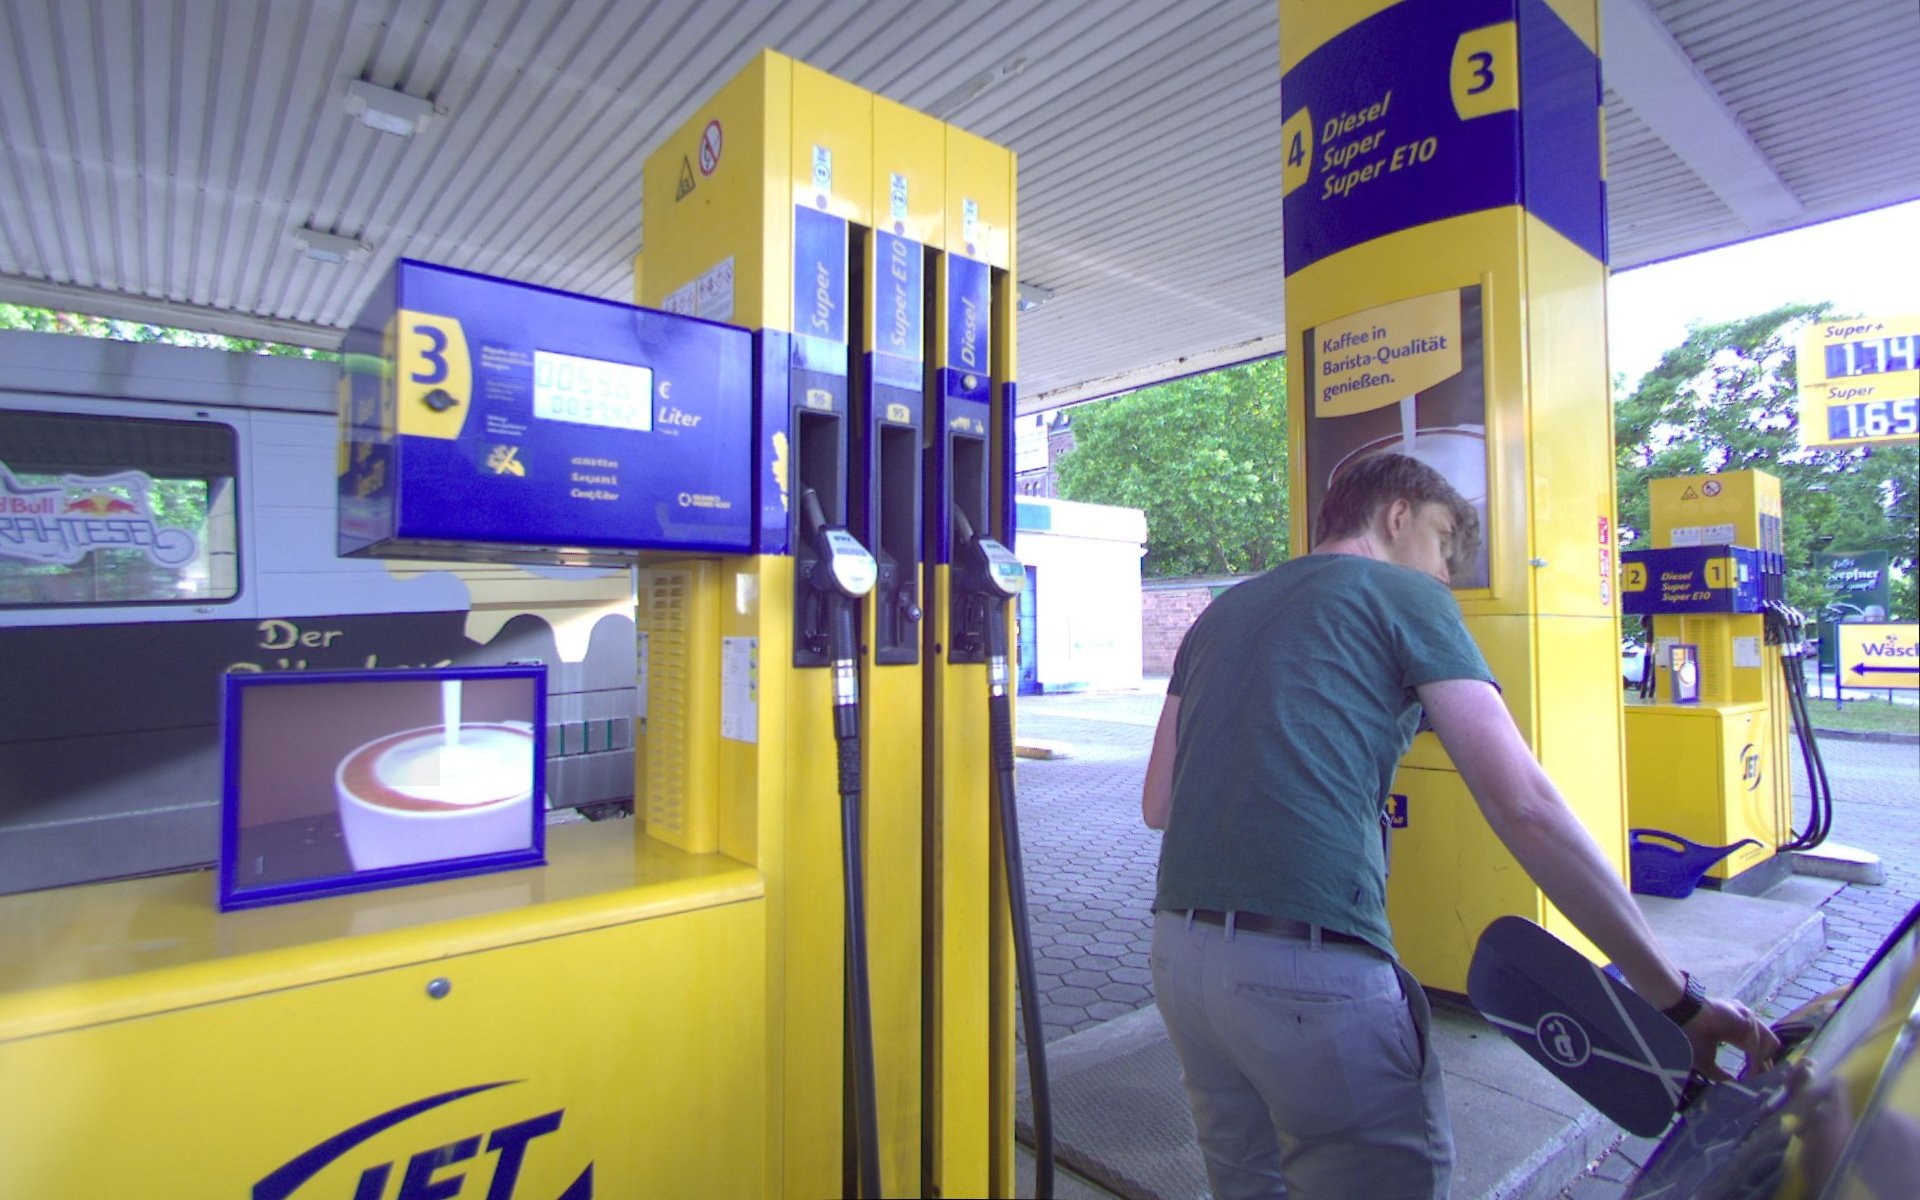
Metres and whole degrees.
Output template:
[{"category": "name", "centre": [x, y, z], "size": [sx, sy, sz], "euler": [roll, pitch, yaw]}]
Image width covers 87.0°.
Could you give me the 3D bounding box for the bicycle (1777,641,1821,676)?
[{"category": "bicycle", "centre": [32.591, 2.248, 39.339], "size": [0.844, 1.255, 1.866], "euler": [-2, -1, 26]}]

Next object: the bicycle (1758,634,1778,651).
[{"category": "bicycle", "centre": [63.988, 3.330, 80.160], "size": [0.783, 1.255, 1.866], "euler": [0, 0, 26]}]

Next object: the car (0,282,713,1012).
[{"category": "car", "centre": [-4.106, 0.187, 4.860], "size": [5.248, 2.760, 2.201], "euler": [0, -1, -39]}]

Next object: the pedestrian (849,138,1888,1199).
[{"category": "pedestrian", "centre": [0.603, 0.508, 1.524], "size": [1.161, 1.750, 0.993], "euler": [-2, 1, -38]}]

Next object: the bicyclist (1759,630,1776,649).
[{"category": "bicyclist", "centre": [64.017, 3.111, 80.224], "size": [0.783, 1.469, 1.165], "euler": [0, 0, 26]}]

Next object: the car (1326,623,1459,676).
[{"category": "car", "centre": [13.771, 1.571, 32.175], "size": [4.112, 1.606, 1.826], "euler": [2, -3, -31]}]

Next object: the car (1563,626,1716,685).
[{"category": "car", "centre": [18.244, 1.489, 27.140], "size": [4.112, 1.478, 1.826], "euler": [2, -3, -31]}]

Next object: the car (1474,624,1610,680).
[{"category": "car", "centre": [17.760, 1.581, 30.857], "size": [4.112, 1.606, 1.826], "euler": [2, -3, -31]}]

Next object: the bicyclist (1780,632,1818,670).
[{"category": "bicyclist", "centre": [32.565, 1.971, 39.281], "size": [0.844, 1.441, 1.028], "euler": [-2, -1, 26]}]

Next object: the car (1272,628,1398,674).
[{"category": "car", "centre": [12.632, 1.702, 34.038], "size": [4.112, 1.453, 1.826], "euler": [2, -3, -31]}]
